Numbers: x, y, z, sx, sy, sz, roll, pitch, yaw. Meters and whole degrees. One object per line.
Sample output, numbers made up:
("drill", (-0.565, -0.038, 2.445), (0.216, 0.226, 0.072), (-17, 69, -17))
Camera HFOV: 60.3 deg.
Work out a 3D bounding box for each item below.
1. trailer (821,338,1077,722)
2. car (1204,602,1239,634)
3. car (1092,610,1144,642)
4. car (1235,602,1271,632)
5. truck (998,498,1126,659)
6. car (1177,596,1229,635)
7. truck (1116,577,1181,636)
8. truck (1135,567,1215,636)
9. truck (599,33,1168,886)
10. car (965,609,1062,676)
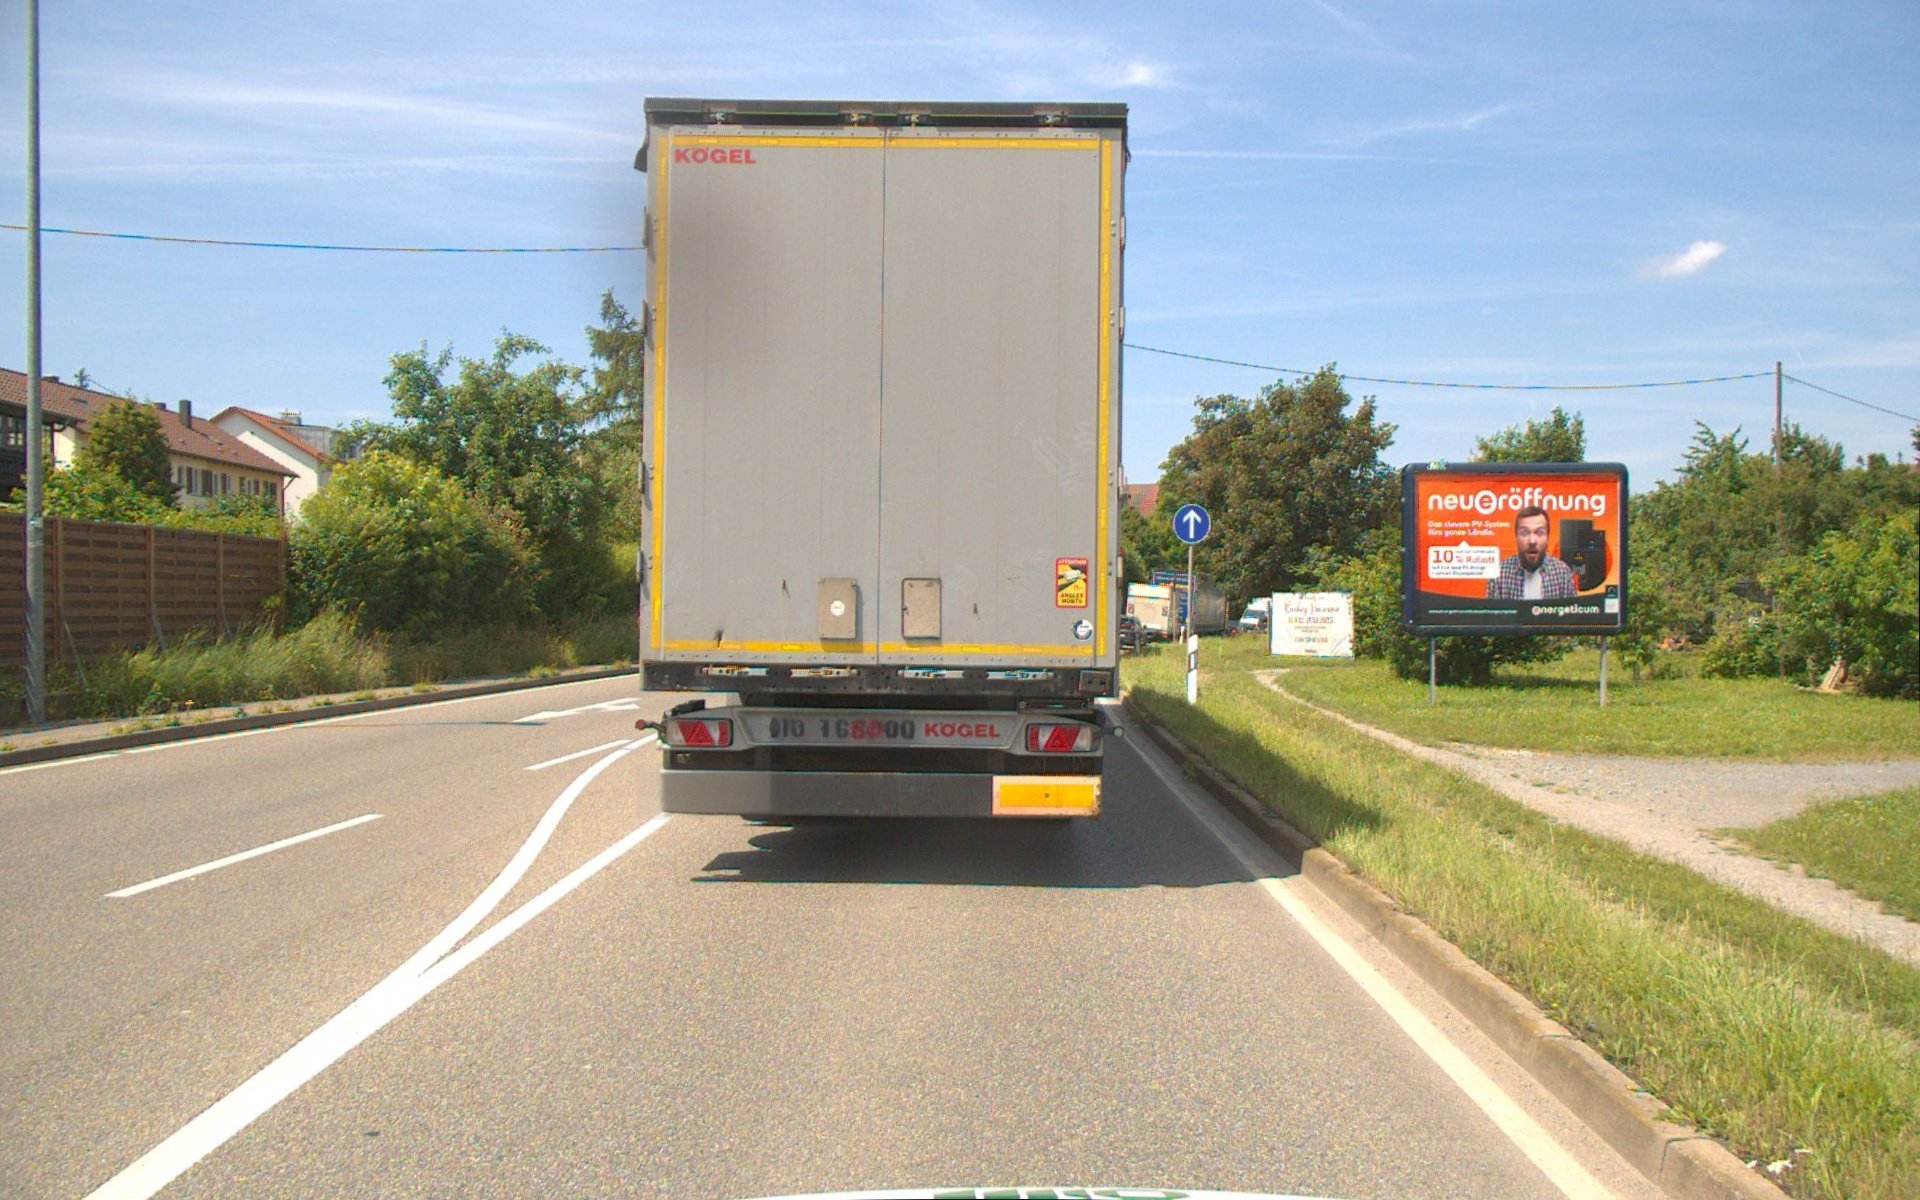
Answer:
("trailer", (-0.001, -0.780, 21.394), (2.766, 4.183, 6.546), (1, 0, 2))
("car", (17.563, 1.199, 110.945), (1.951, 2.049, 4.003), (1, -1, 15))
("car", (7.204, 1.173, 75.034), (1.951, 1.400, 4.003), (1, -1, 11))
("car", (21.142, 1.224, 119.190), (1.952, 2.049, 4.001), (1, -1, 20))
("truck", (3.607, -0.475, 53.515), (2.701, 4.364, 16.427), (1, -1, 8))
("car", (15.025, 0.929, 101.968), (2.478, 2.317, 6.386), (1, 0, 15))
("truck", (9.546, 0.354, 83.348), (2.489, 2.852, 6.036), (1, -1, 13))
("truck", (12.247, 0.032, 93.503), (3.360, 3.667, 9.361), (1, 1, 14))
("truck", (-0.225, -0.734, 13.944), (2.763, 4.200, 11.446), (1, 0, 2))
("car", (1.236, 0.910, 36.377), (1.780, 1.370, 3.850), (1, -1, 7))
